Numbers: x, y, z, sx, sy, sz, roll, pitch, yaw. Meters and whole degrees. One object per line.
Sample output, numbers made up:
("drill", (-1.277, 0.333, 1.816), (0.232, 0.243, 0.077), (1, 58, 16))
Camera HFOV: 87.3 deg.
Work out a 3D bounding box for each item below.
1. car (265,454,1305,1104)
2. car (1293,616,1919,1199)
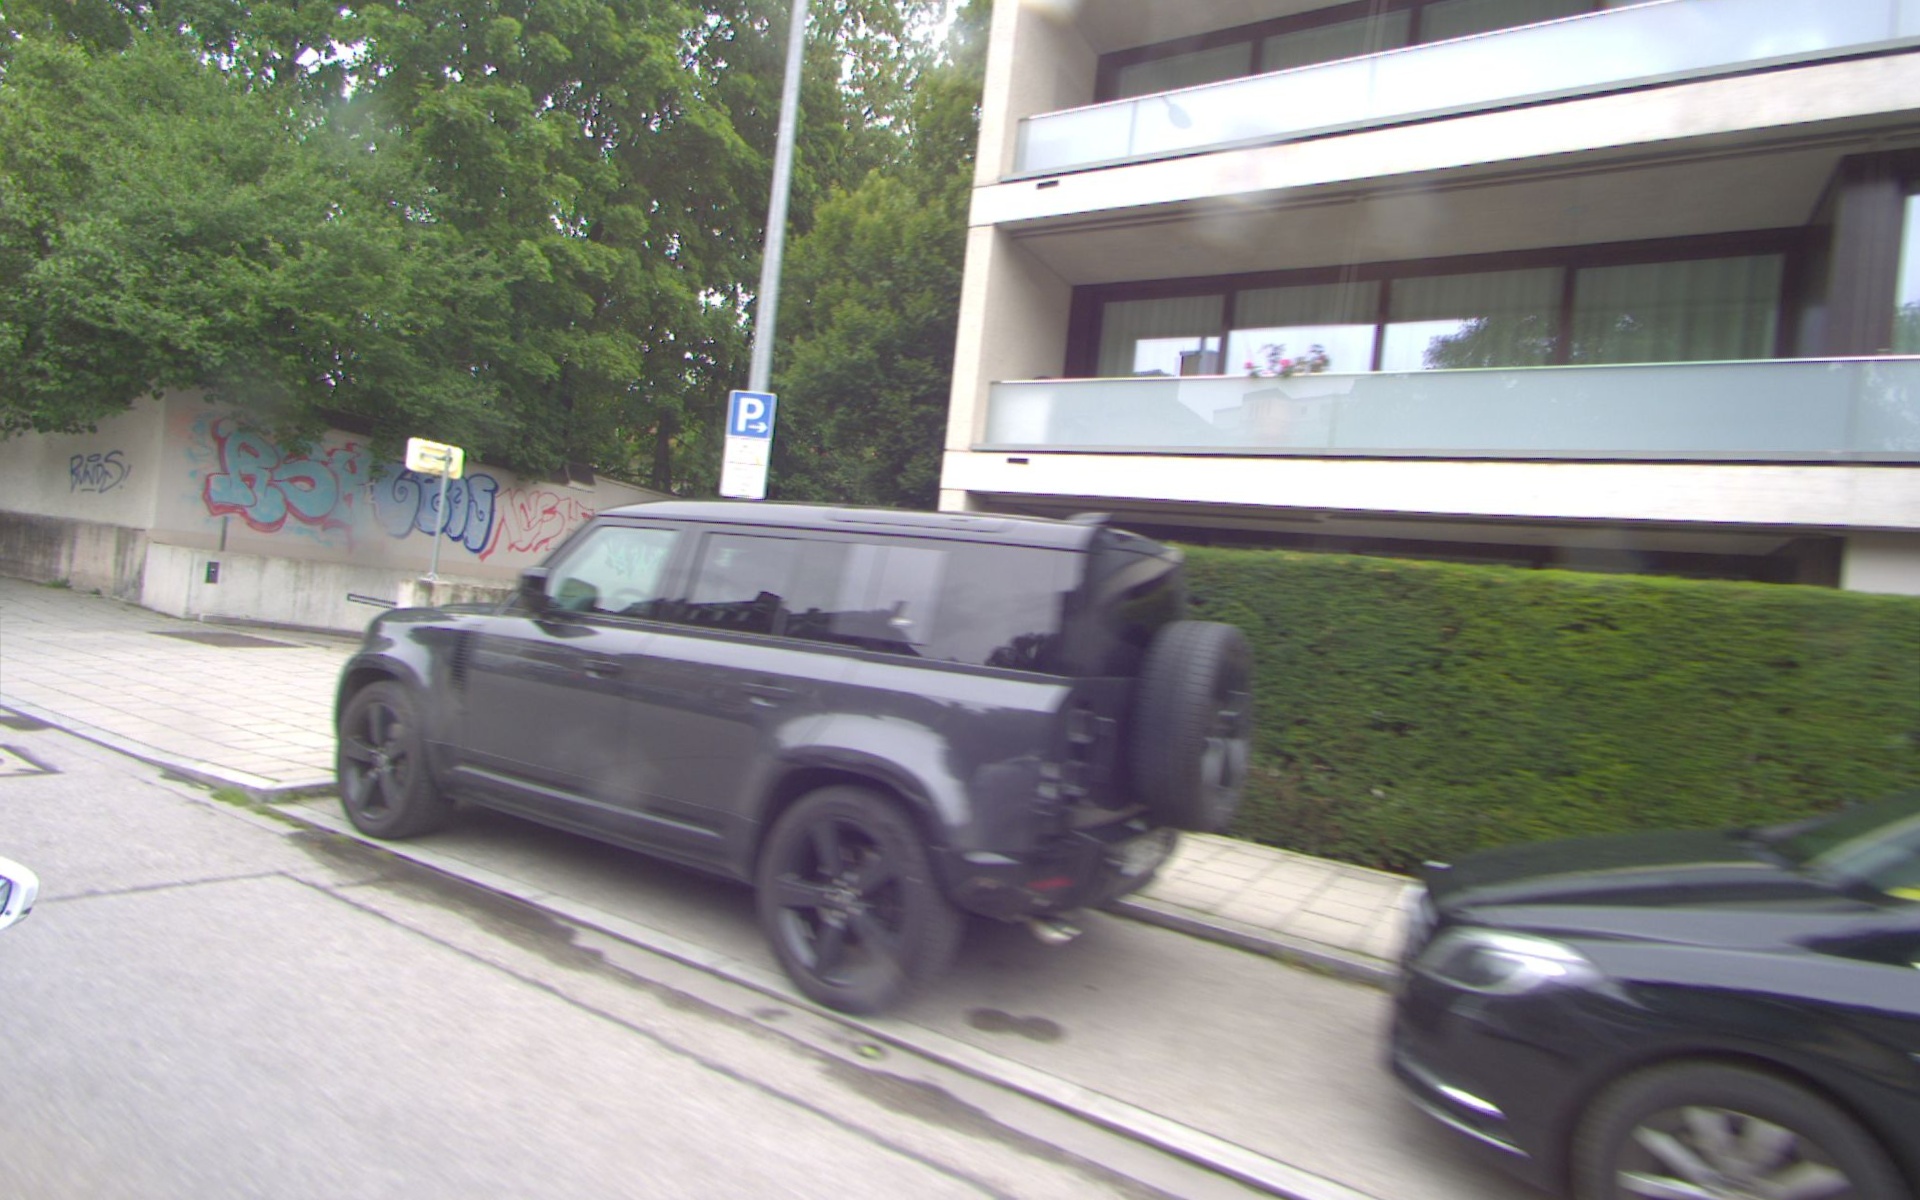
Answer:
("car", (-1.100, 0.434, 5.152), (4.992, 1.894, 1.991), (6, -1, 30))
("car", (3.373, 1.109, 2.422), (4.492, 1.558, 1.750), (7, 0, 30))
